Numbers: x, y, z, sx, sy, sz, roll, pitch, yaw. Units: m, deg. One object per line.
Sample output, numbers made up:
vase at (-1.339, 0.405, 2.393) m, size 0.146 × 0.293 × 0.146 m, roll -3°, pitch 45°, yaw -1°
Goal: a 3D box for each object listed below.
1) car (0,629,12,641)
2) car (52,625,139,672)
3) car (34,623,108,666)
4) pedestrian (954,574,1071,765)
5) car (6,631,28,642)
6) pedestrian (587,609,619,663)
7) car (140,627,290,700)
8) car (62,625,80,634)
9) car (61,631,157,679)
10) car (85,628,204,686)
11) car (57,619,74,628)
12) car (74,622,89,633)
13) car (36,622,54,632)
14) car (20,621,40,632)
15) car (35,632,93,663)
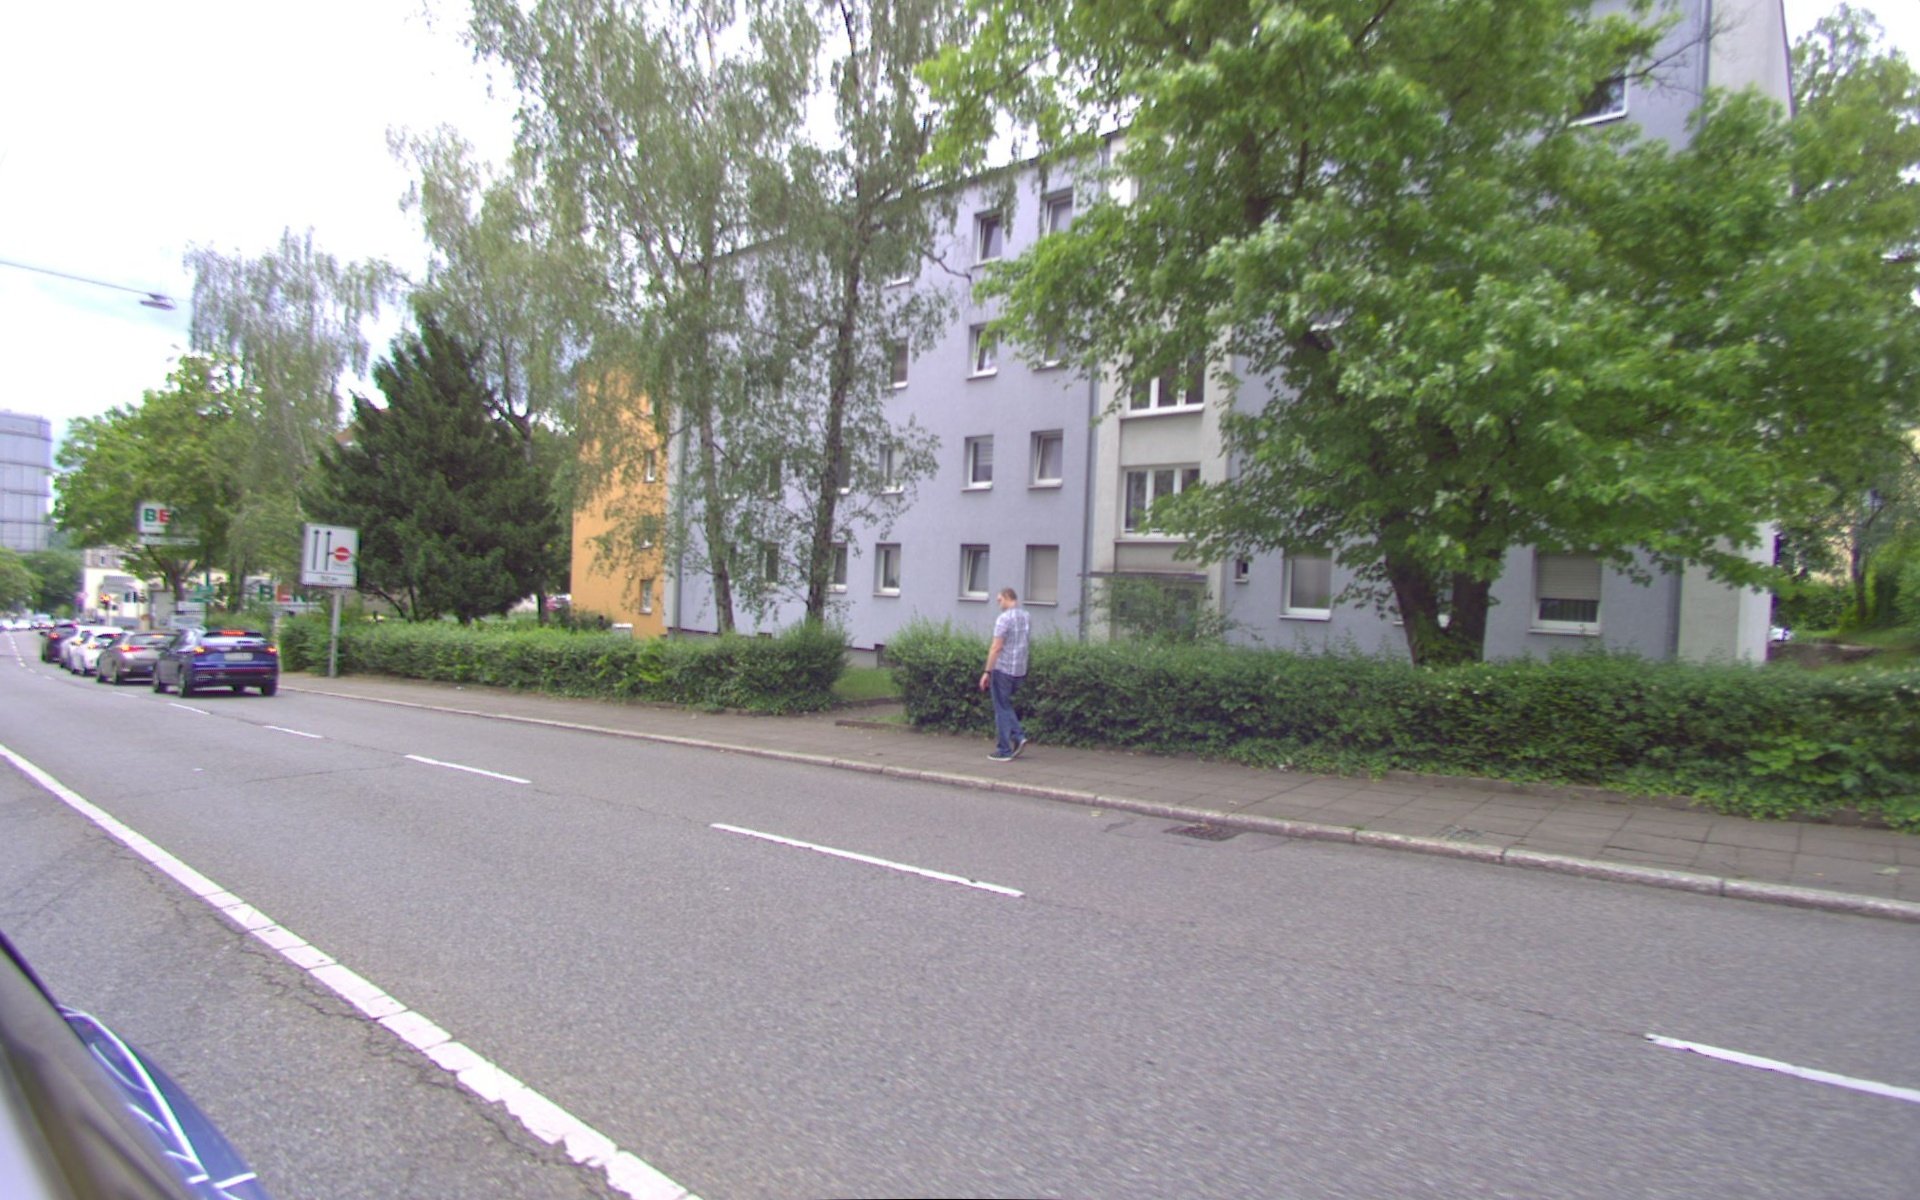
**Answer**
car at (-130.098, 4.751, 137.101) m, size 1.967 × 1.612 × 4.009 m, roll -1°, pitch -1°, yaw -36°
car at (-31.833, 1.755, 37.203) m, size 4.499 × 1.606 × 1.929 m, roll -1°, pitch -4°, yaw 44°
car at (-37.159, 1.836, 42.260) m, size 4.415 × 1.655 × 1.929 m, roll -1°, pitch -4°, yaw 44°
pedestrian at (0.579, 0.721, 11.059) m, size 0.867 × 1.964 × 0.873 m, roll -2°, pitch 0°, yaw 41°
car at (-142.341, 5.524, 152.793) m, size 1.967 × 1.612 × 4.009 m, roll -1°, pitch -1°, yaw -36°
pedestrian at (-12.149, 1.217, 34.424) m, size 0.714 × 1.768 × 0.794 m, roll 1°, pitch -6°, yaw -44°
car at (-16.804, 1.367, 22.758) m, size 4.309 × 1.459 × 1.819 m, roll -1°, pitch -3°, yaw 42°
car at (-141.013, 4.691, 160.525) m, size 1.731 × 1.458 × 3.760 m, roll 0°, pitch -1°, yaw -36°
car at (-27.510, 1.750, 32.666) m, size 4.073 × 1.423 × 1.819 m, roll -1°, pitch -4°, yaw 43°
car at (-22.475, 1.521, 27.831) m, size 4.309 × 1.459 × 1.819 m, roll -1°, pitch -3°, yaw 42°
car at (-171.520, 4.512, 194.049) m, size 1.967 × 1.612 × 4.009 m, roll -1°, pitch -1°, yaw -36°
car at (-159.156, 5.001, 183.404) m, size 1.841 × 1.898 × 4.293 m, roll 4°, pitch -4°, yaw -39°
car at (-158.254, 4.687, 175.097) m, size 1.967 × 1.612 × 4.009 m, roll -1°, pitch -1°, yaw -36°
car at (-152.335, 4.346, 165.771) m, size 1.967 × 1.612 × 4.009 m, roll -1°, pitch -1°, yaw -36°
car at (-41.564, 2.183, 46.917) m, size 1.780 × 1.291 × 4.240 m, roll 5°, pitch -4°, yaw -43°
